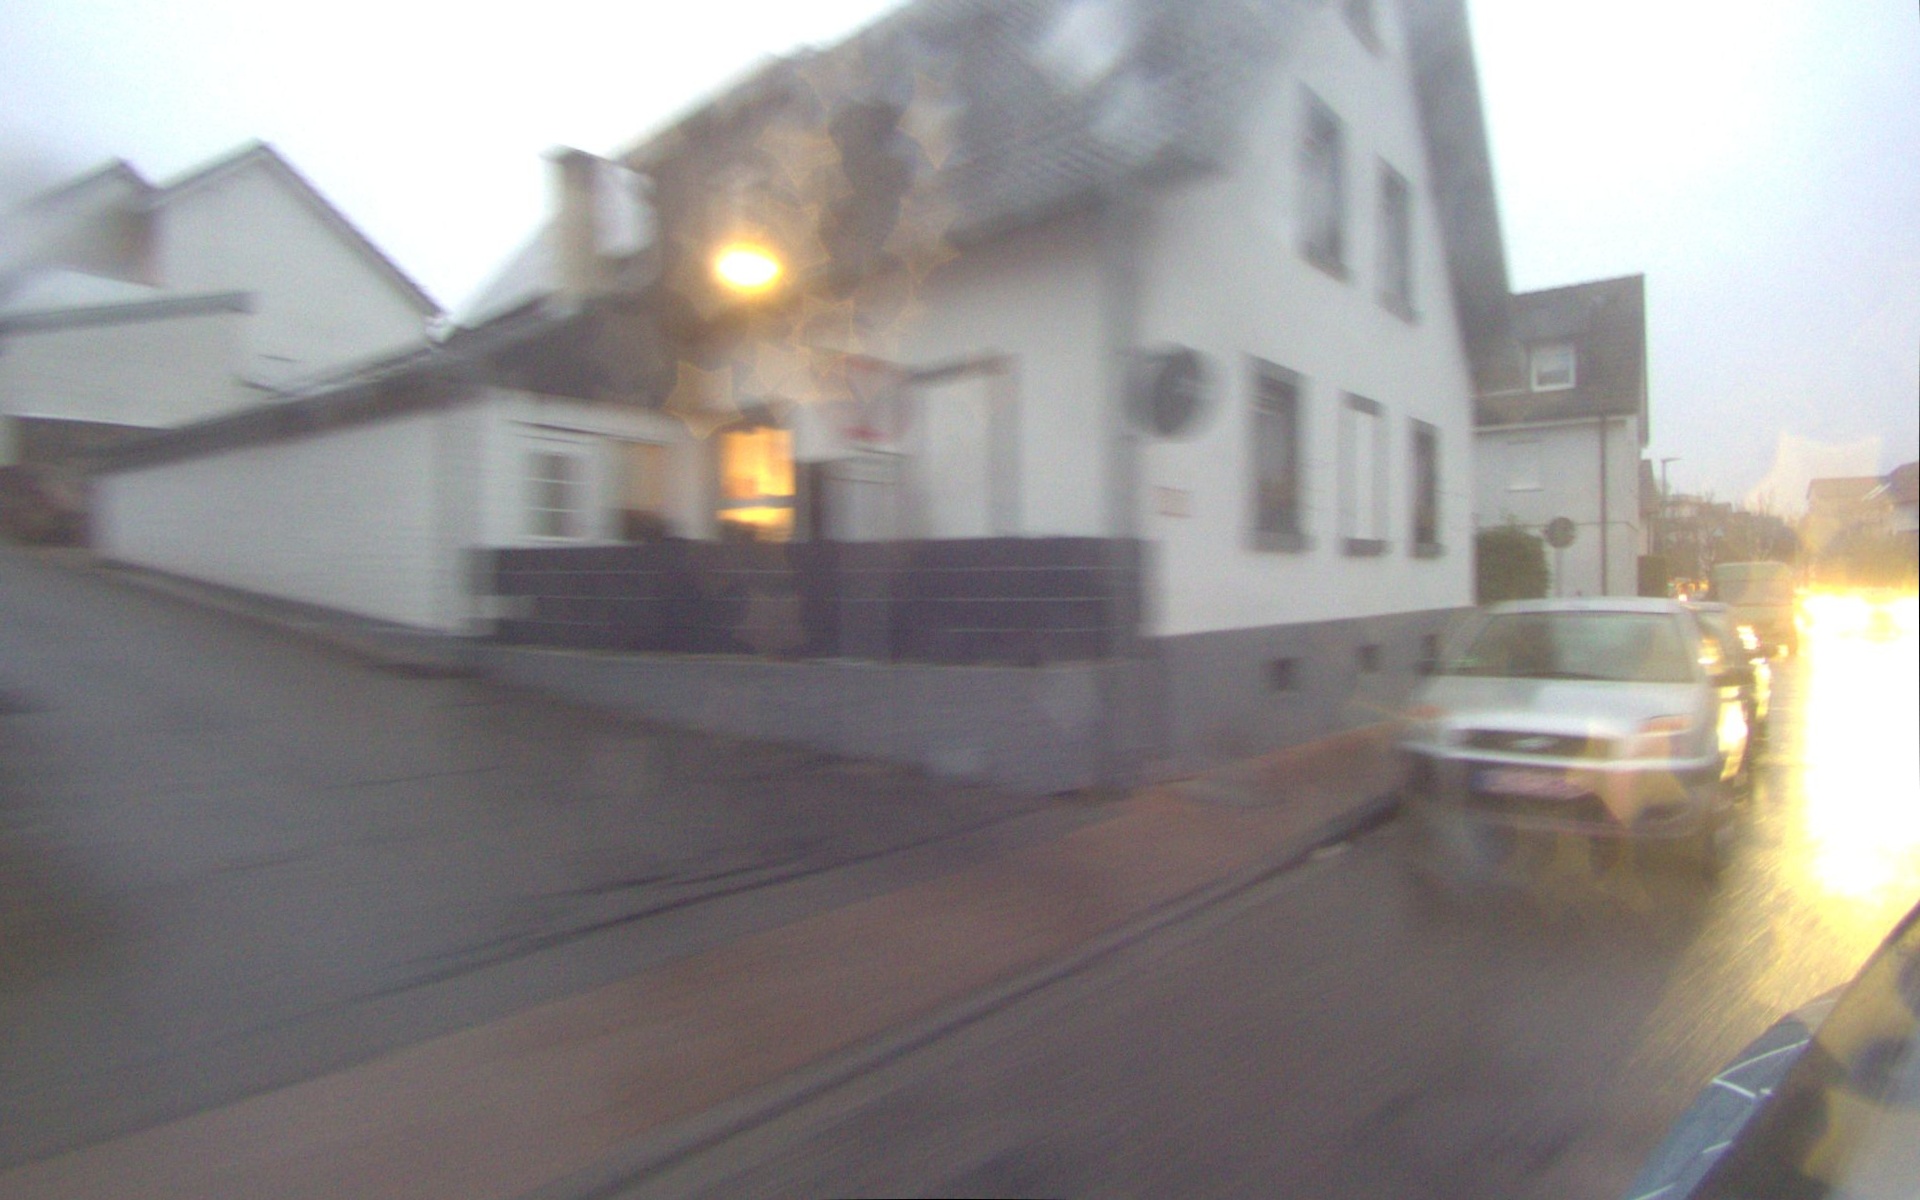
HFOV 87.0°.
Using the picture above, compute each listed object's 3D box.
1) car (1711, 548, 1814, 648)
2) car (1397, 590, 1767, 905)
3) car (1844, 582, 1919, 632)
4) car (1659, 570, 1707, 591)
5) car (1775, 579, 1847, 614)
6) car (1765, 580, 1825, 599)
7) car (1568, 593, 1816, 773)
[{"bbox_3d":[22.316,-0.059,28.145,2.005,2.485,5.536,-2,-1,39],"label":"car"},{"bbox_3d":[4.475,0.723,6.983,1.635,1.513,3.943,-2,-1,39],"label":"car"},{"bbox_3d":[31.096,0.206,33.791,1.980,1.577,4.180,-1,0,36],"label":"car"},{"bbox_3d":[70.179,-1.862,98.291,1.822,1.907,4.872,-1,0,10],"label":"car"},{"bbox_3d":[40.734,-0.167,48.549,1.977,1.577,4.188,-1,0,32],"label":"car"},{"bbox_3d":[75.259,-0.938,91.249,1.725,1.682,3.991,-1,0,-42],"label":"car"},{"bbox_3d":[7.775,0.716,10.597,1.637,1.490,3.939,-2,-1,42],"label":"car"}]
